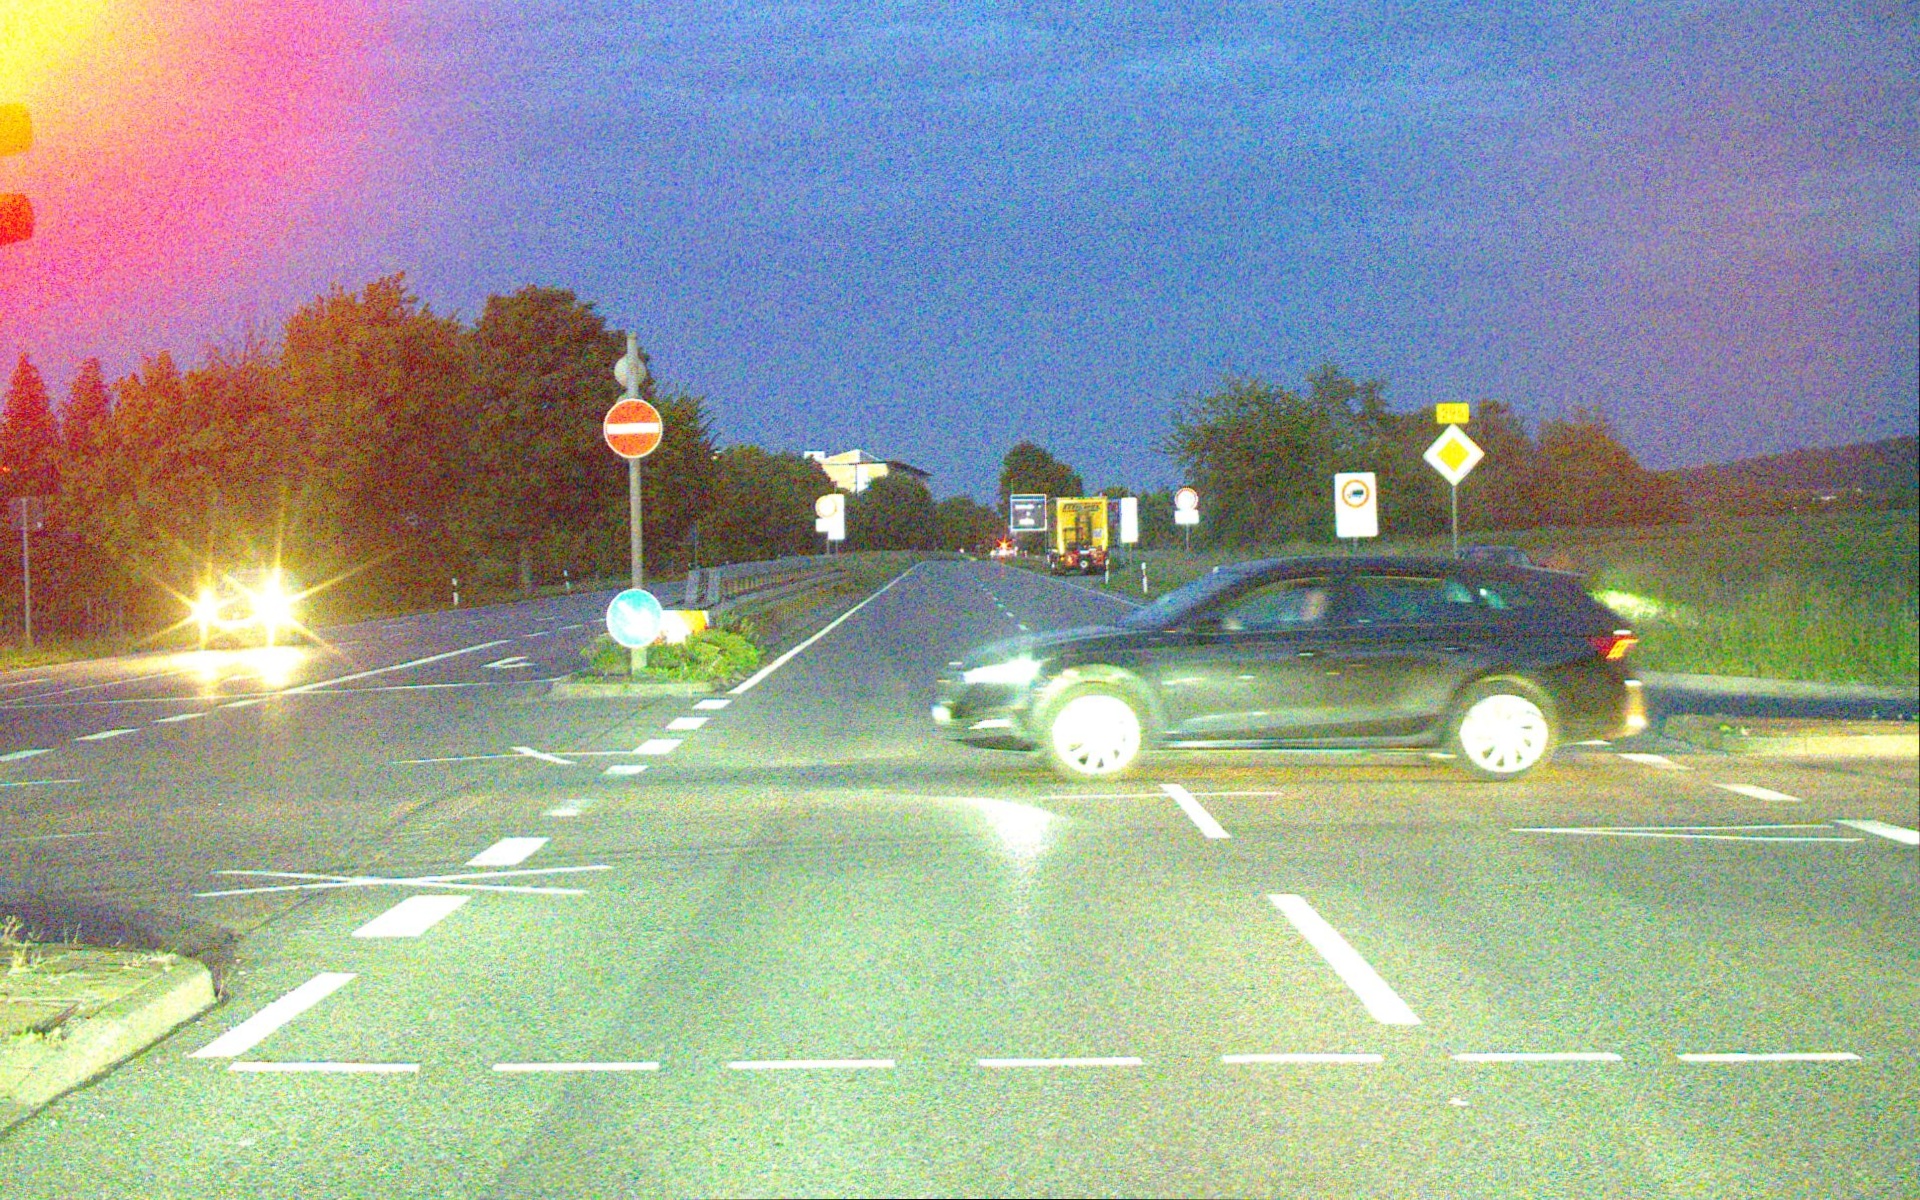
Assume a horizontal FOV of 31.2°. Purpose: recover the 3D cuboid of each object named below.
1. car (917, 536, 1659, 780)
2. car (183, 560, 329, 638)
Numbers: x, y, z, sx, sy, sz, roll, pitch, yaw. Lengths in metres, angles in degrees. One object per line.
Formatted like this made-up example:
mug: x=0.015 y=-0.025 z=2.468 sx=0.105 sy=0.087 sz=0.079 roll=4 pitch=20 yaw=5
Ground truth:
car: x=2.103 y=0.362 z=22.920 sx=4.600 sy=1.515 sz=2.000 roll=1 pitch=1 yaw=-6
car: x=-13.360 y=-0.036 z=65.459 sx=1.993 sy=1.382 sz=4.000 roll=-1 pitch=1 yaw=-1
